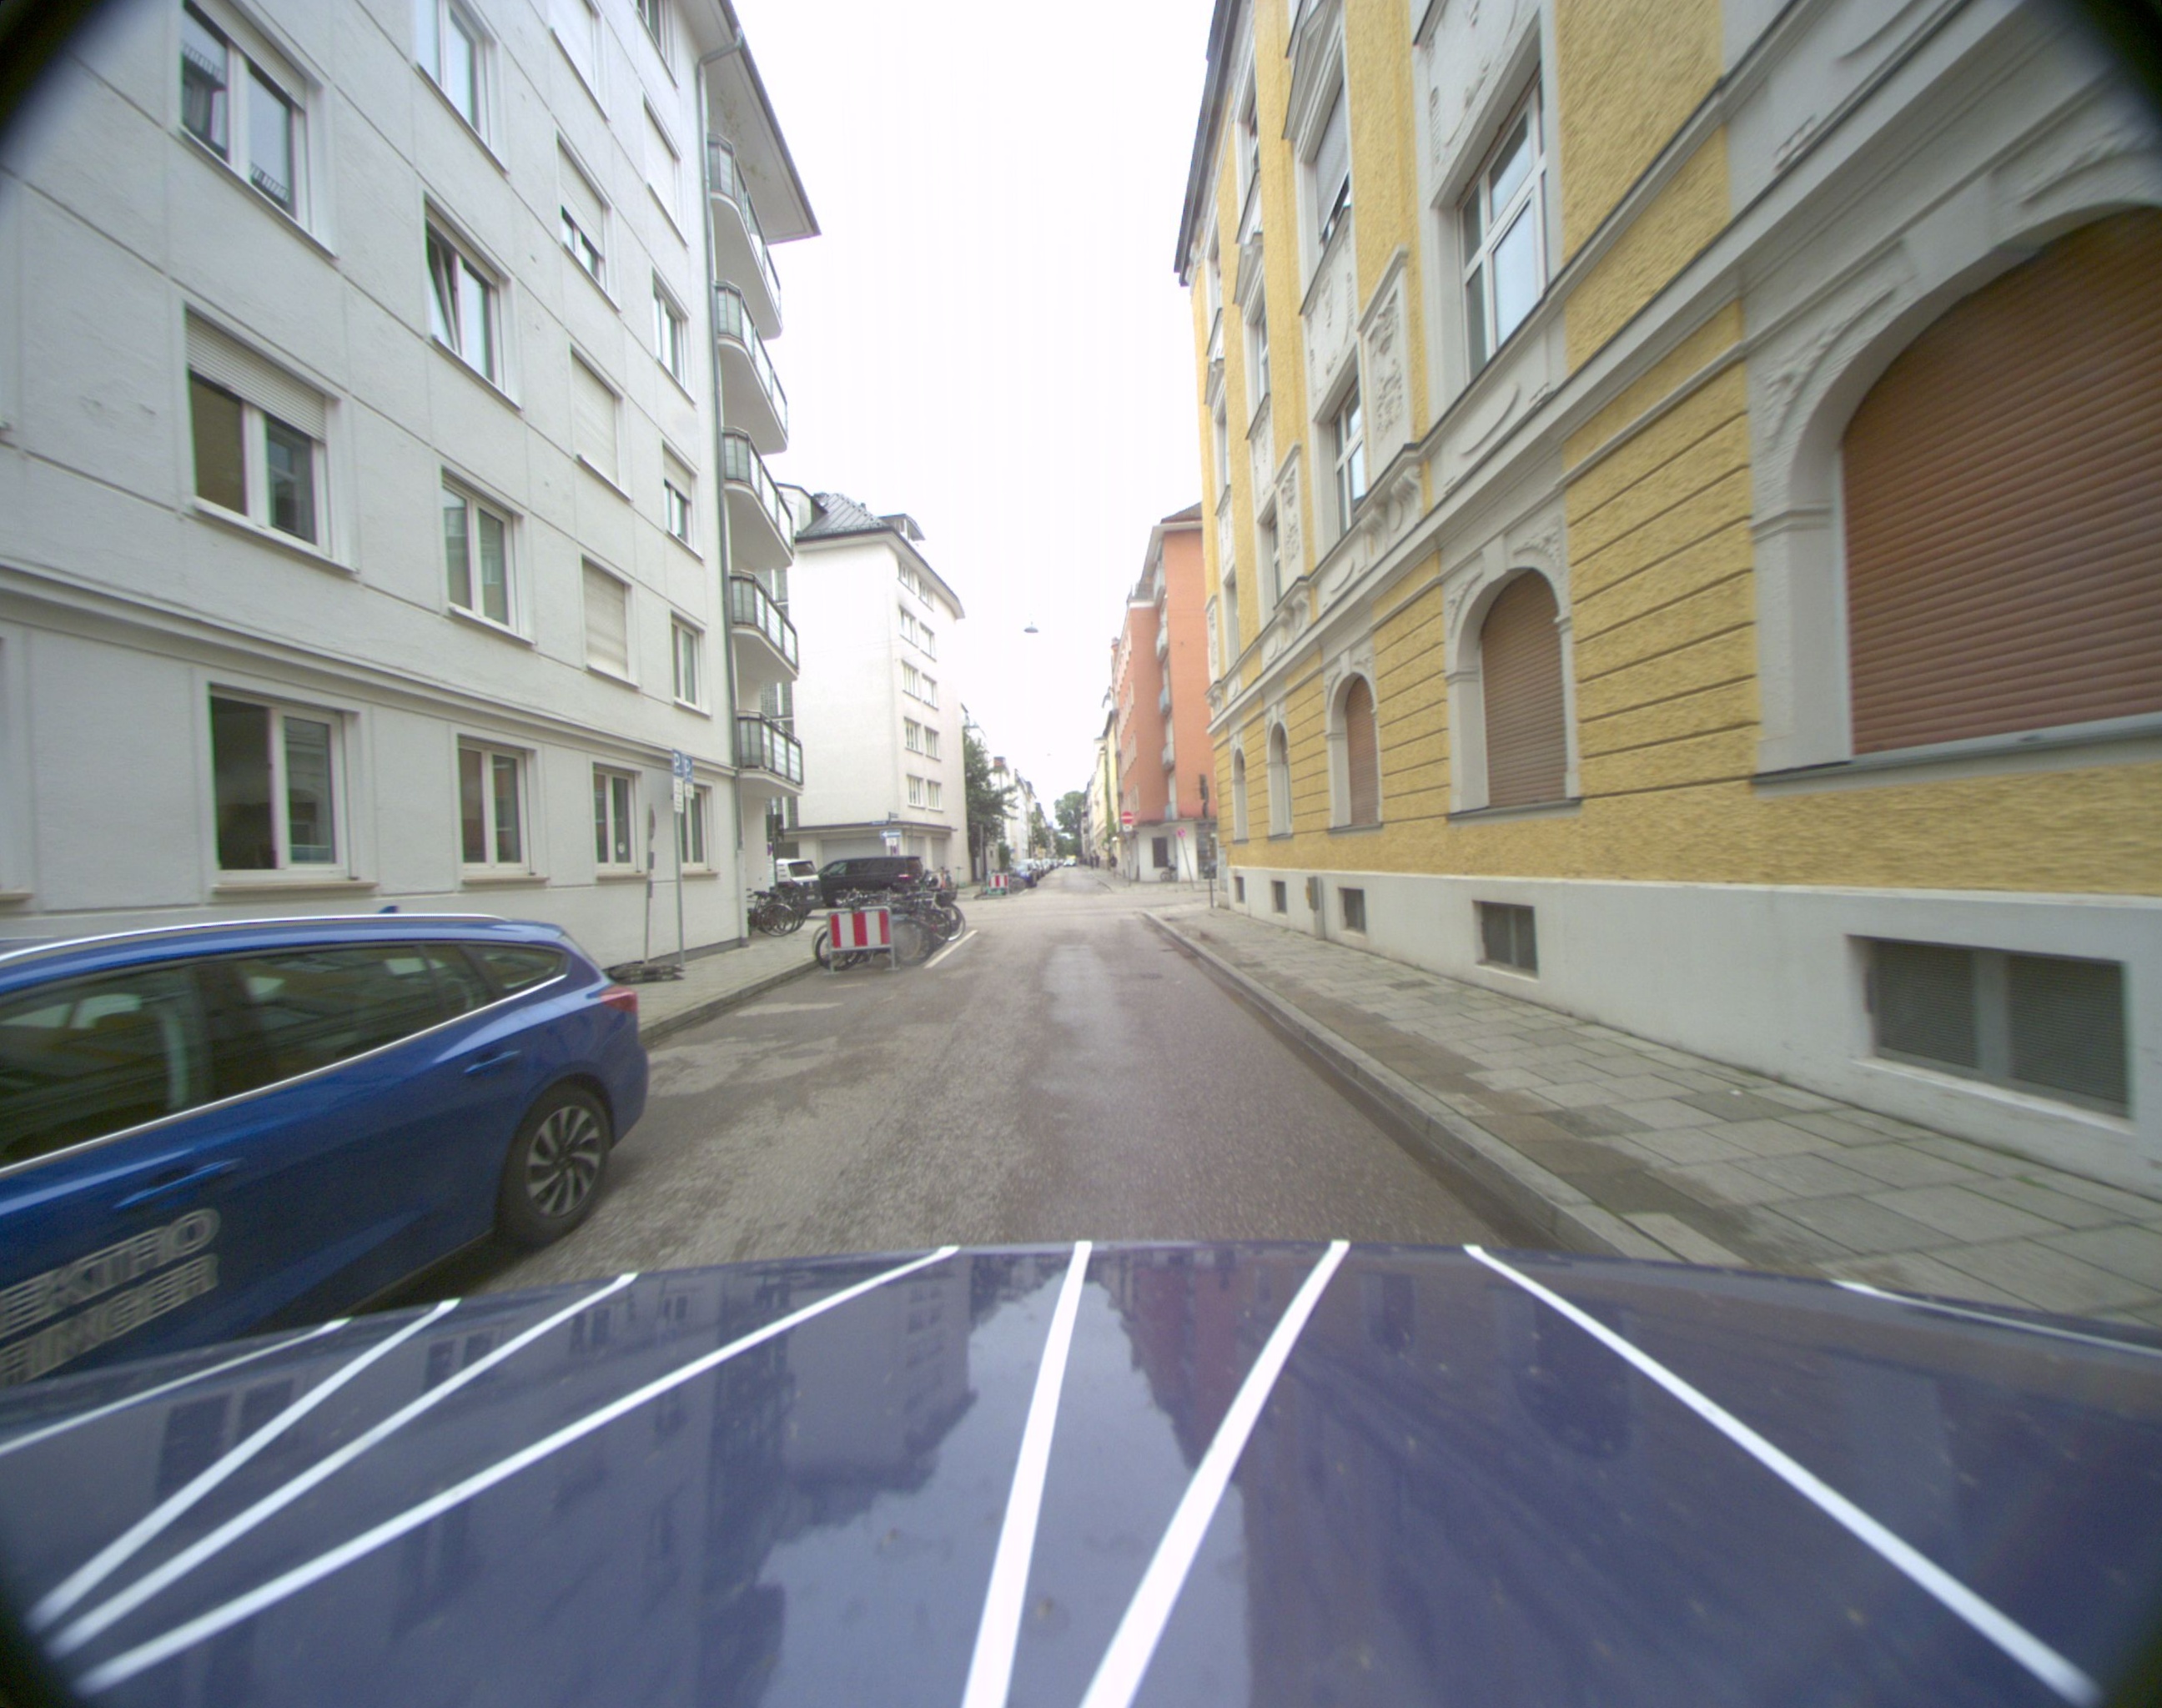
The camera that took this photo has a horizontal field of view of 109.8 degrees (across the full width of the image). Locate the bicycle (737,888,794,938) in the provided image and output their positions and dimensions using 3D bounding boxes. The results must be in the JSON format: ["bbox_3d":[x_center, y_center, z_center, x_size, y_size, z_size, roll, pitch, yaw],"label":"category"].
[{"bbox_3d":[-6.982,1.296,16.833,1.129,1.037,0.398,-1,1,-19],"label":"bicycle"}]

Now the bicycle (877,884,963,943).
[{"bbox_3d":[-3.420,1.252,16.192,1.700,1.154,0.378,-2,1,-2],"label":"bicycle"}]

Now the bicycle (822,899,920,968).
[{"bbox_3d":[-3.284,1.233,11.904,1.438,1.037,0.330,0,1,7],"label":"bicycle"}]

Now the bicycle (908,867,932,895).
[{"bbox_3d":[-7.376,1.231,34.864,0.528,1.207,1.610,-2,0,7],"label":"bicycle"}]

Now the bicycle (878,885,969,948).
[{"bbox_3d":[-3.150,1.241,15.225,1.700,1.154,0.378,-2,1,-2],"label":"bicycle"}]

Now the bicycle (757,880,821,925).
[{"bbox_3d":[-8.082,1.337,21.031,1.607,1.207,0.472,0,1,8],"label":"bicycle"}]

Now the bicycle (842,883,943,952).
[{"bbox_3d":[-3.440,1.155,13.935,1.700,1.154,0.378,-2,1,-2],"label":"bicycle"}]

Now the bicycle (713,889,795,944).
[{"bbox_3d":[-6.705,1.274,15.633,1.502,1.037,0.398,-1,1,-19],"label":"bicycle"}]

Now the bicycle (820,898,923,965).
[{"bbox_3d":[-3.374,1.235,12.265,1.590,1.037,0.323,0,1,8],"label":"bicycle"}]

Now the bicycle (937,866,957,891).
[{"bbox_3d":[-6.826,1.224,38.798,0.528,1.207,1.610,-2,0,7],"label":"bicycle"}]

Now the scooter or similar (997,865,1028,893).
[{"bbox_3d":[-3.152,1.152,34.934,1.340,1.207,0.344,-2,1,2],"label":"scooter or similar"}]

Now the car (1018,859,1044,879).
[{"bbox_3d":[-3.738,1.109,57.607,1.654,1.390,4.000,-2,0,0],"label":"car"}]

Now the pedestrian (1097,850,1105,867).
[{"bbox_3d":[2.133,0.433,81.055,0.699,1.783,0.763,-2,1,0],"label":"pedestrian"}]

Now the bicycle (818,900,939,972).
[{"bbox_3d":[-3.031,1.227,11.441,1.707,1.037,0.360,0,1,0],"label":"bicycle"}]

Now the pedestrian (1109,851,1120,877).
[{"bbox_3d":[2.168,0.646,49.148,0.613,1.684,0.565,-2,1,-1],"label":"pedestrian"}]

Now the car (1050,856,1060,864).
[{"bbox_3d":[-4.577,1.052,135.923,1.654,1.390,4.000,-2,0,0],"label":"car"}]

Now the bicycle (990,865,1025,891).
[{"bbox_3d":[-3.566,1.158,36.926,1.608,1.207,0.529,-2,1,2],"label":"bicycle"}]

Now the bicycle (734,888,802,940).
[{"bbox_3d":[-6.669,1.272,16.229,1.296,1.037,0.398,-1,1,-19],"label":"bicycle"}]

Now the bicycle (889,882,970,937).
[{"bbox_3d":[-3.438,1.254,17.296,1.700,1.154,0.418,-2,1,-2],"label":"bicycle"}]

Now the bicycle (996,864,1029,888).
[{"bbox_3d":[-3.610,1.144,39.905,1.608,1.207,0.529,-2,1,2],"label":"bicycle"}]

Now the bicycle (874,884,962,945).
[{"bbox_3d":[-3.377,1.253,15.795,1.700,1.154,0.378,-2,1,-2],"label":"bicycle"}]

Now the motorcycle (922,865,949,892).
[{"bbox_3d":[-7.037,1.182,36.728,0.660,1.225,1.937,-2,0,7],"label":"motorcycle"}]

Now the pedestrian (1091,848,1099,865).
[{"bbox_3d":[1.462,0.275,81.015,0.726,1.783,0.830,-2,1,-1],"label":"pedestrian"}]

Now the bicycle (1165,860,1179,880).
[{"bbox_3d":[4.476,0.777,37.388,0.471,0.923,1.513,-2,0,0],"label":"bicycle"}]

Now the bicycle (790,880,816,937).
[{"bbox_3d":[-6.408,1.229,17.486,0.399,1.197,1.502,-1,1,-25],"label":"bicycle"}]

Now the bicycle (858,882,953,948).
[{"bbox_3d":[-3.301,1.143,14.348,1.666,1.154,0.378,-2,1,-2],"label":"bicycle"}]

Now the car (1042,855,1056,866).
[{"bbox_3d":[-4.220,0.878,101.289,1.654,1.390,4.000,-2,0,0],"label":"car"}]

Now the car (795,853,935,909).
[{"bbox_3d":[-8.163,1.018,28.898,4.676,1.880,1.935,-2,0,7],"label":"car"}]

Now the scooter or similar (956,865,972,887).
[{"bbox_3d":[-6.433,1.184,41.859,0.406,1.160,1.494,-2,0,7],"label":"scooter or similar"}]

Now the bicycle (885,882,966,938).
[{"bbox_3d":[-3.445,1.237,16.890,1.700,1.154,0.313,-2,1,-2],"label":"bicycle"}]

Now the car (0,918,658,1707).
[{"bbox_3d":[-3.157,1.111,1.728,1.799,1.430,4.383,-4,0,1],"label":"car"}]

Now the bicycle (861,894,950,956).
[{"bbox_3d":[-3.033,1.225,13.158,1.441,1.037,0.360,0,1,7],"label":"bicycle"}]

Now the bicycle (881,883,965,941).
[{"bbox_3d":[-3.432,1.257,16.561,1.700,1.154,0.313,-2,1,-2],"label":"bicycle"}]

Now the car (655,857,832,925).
[{"bbox_3d":[-10.399,1.121,23.623,4.615,1.862,1.934,-2,0,7],"label":"car"}]

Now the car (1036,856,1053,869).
[{"bbox_3d":[-4.091,0.959,85.819,1.654,1.390,4.000,-2,0,0],"label":"car"}]

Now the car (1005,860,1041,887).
[{"bbox_3d":[-3.212,1.055,42.757,1.654,1.390,4.000,-2,0,0],"label":"car"}]

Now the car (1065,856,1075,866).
[{"bbox_3d":[-2.382,1.423,164.101,1.999,2.002,4.646,-3,0,-1],"label":"car"}]

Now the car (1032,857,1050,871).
[{"bbox_3d":[-4.113,1.034,79.226,1.654,1.390,4.000,-2,0,0],"label":"car"}]

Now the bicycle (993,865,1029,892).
[{"bbox_3d":[-3.326,1.152,36.358,1.608,1.207,0.529,-2,1,2],"label":"bicycle"}]

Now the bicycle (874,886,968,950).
[{"bbox_3d":[-3.106,1.241,14.827,1.700,1.154,0.378,-2,1,-2],"label":"bicycle"}]

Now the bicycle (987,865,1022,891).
[{"bbox_3d":[-3.776,1.163,37.486,1.608,1.207,0.529,-2,1,2],"label":"bicycle"}]

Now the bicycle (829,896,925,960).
[{"bbox_3d":[-3.438,1.233,12.815,1.520,1.037,0.360,0,1,7],"label":"bicycle"}]
